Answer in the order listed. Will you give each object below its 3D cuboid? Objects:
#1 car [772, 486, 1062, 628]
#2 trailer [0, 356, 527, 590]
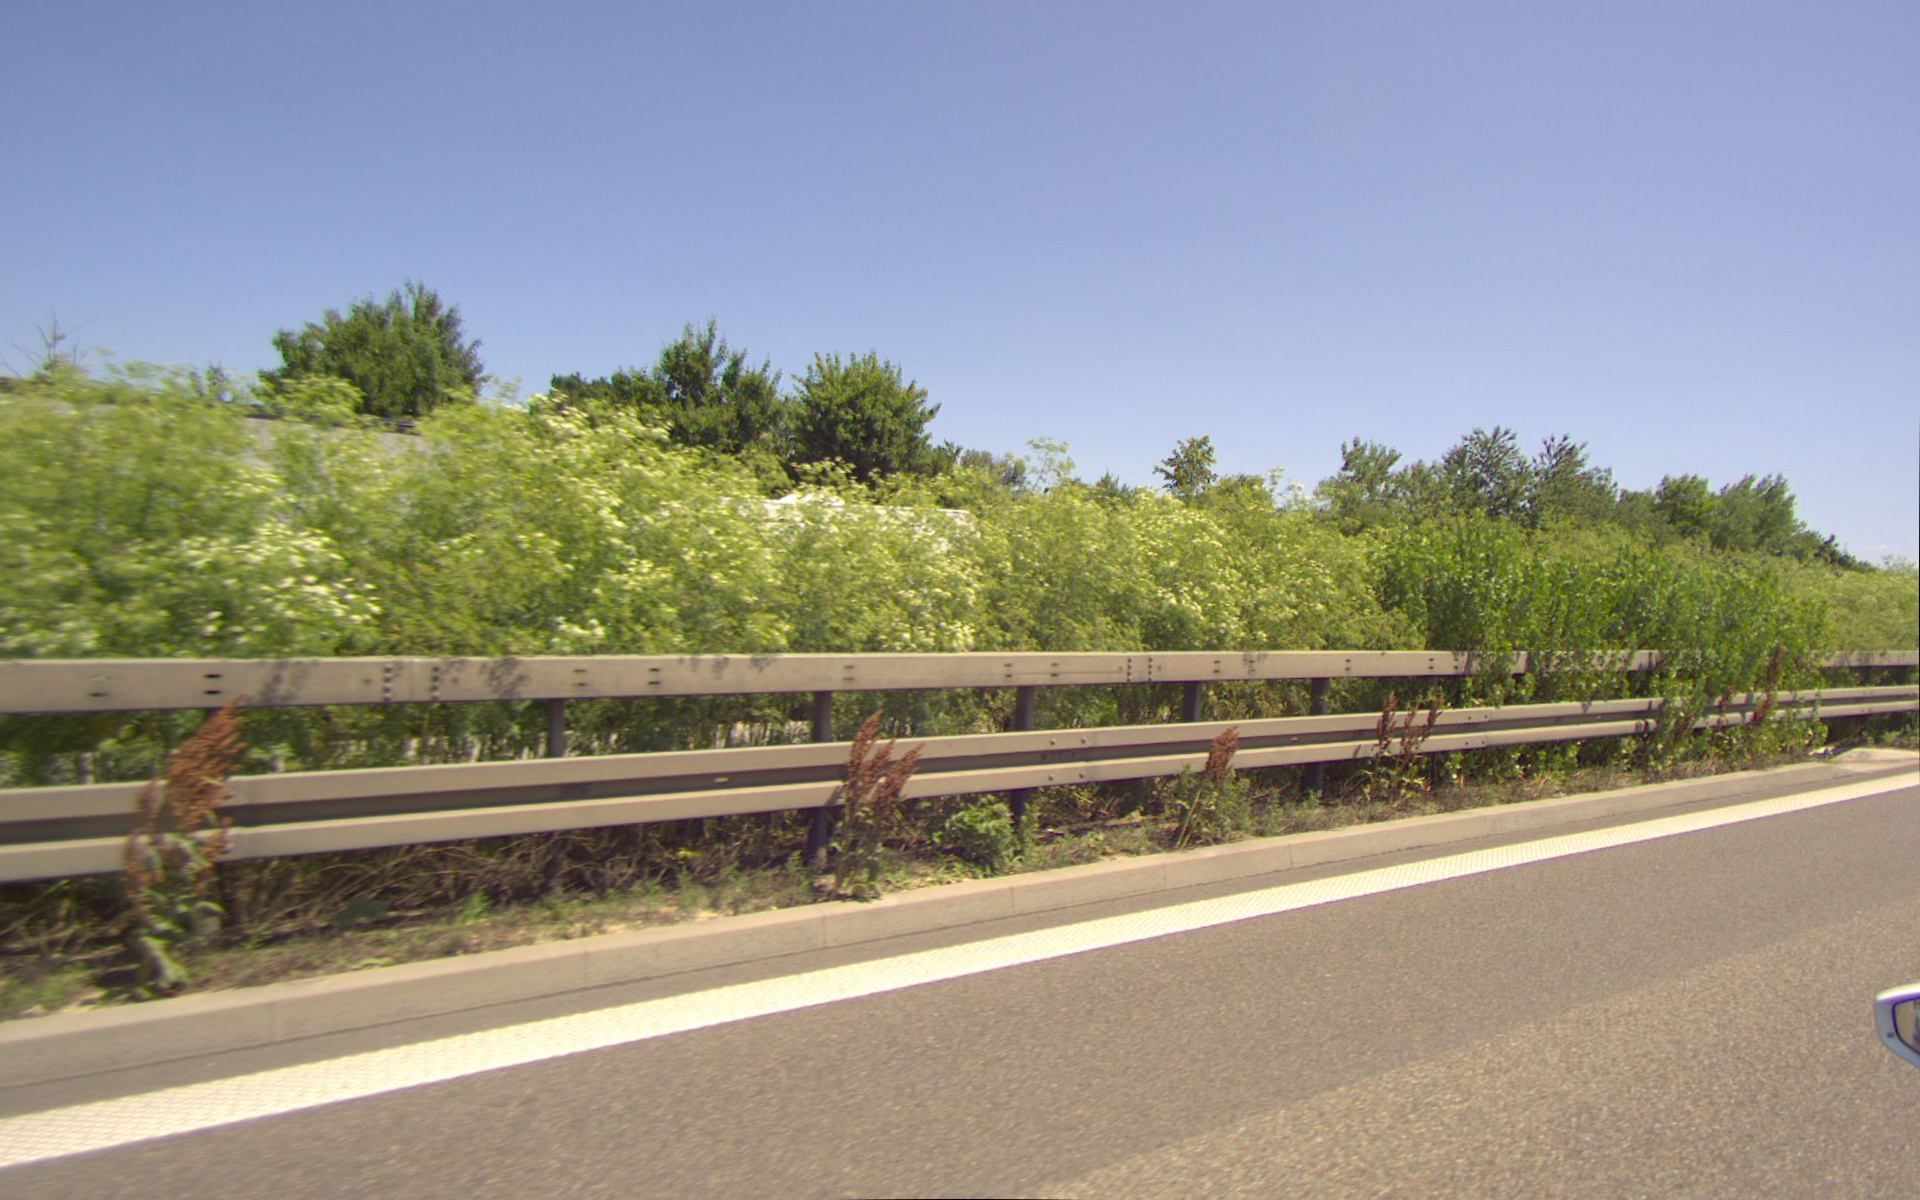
[{"bbox_3d":[-0.661,-0.589,16.460,4.338,1.996,1.983,2,-1,-32],"label":"car"},{"bbox_3d":[-12.368,-1.703,14.120,11.278,2.746,2.553,2,-1,-32],"label":"trailer"}]
